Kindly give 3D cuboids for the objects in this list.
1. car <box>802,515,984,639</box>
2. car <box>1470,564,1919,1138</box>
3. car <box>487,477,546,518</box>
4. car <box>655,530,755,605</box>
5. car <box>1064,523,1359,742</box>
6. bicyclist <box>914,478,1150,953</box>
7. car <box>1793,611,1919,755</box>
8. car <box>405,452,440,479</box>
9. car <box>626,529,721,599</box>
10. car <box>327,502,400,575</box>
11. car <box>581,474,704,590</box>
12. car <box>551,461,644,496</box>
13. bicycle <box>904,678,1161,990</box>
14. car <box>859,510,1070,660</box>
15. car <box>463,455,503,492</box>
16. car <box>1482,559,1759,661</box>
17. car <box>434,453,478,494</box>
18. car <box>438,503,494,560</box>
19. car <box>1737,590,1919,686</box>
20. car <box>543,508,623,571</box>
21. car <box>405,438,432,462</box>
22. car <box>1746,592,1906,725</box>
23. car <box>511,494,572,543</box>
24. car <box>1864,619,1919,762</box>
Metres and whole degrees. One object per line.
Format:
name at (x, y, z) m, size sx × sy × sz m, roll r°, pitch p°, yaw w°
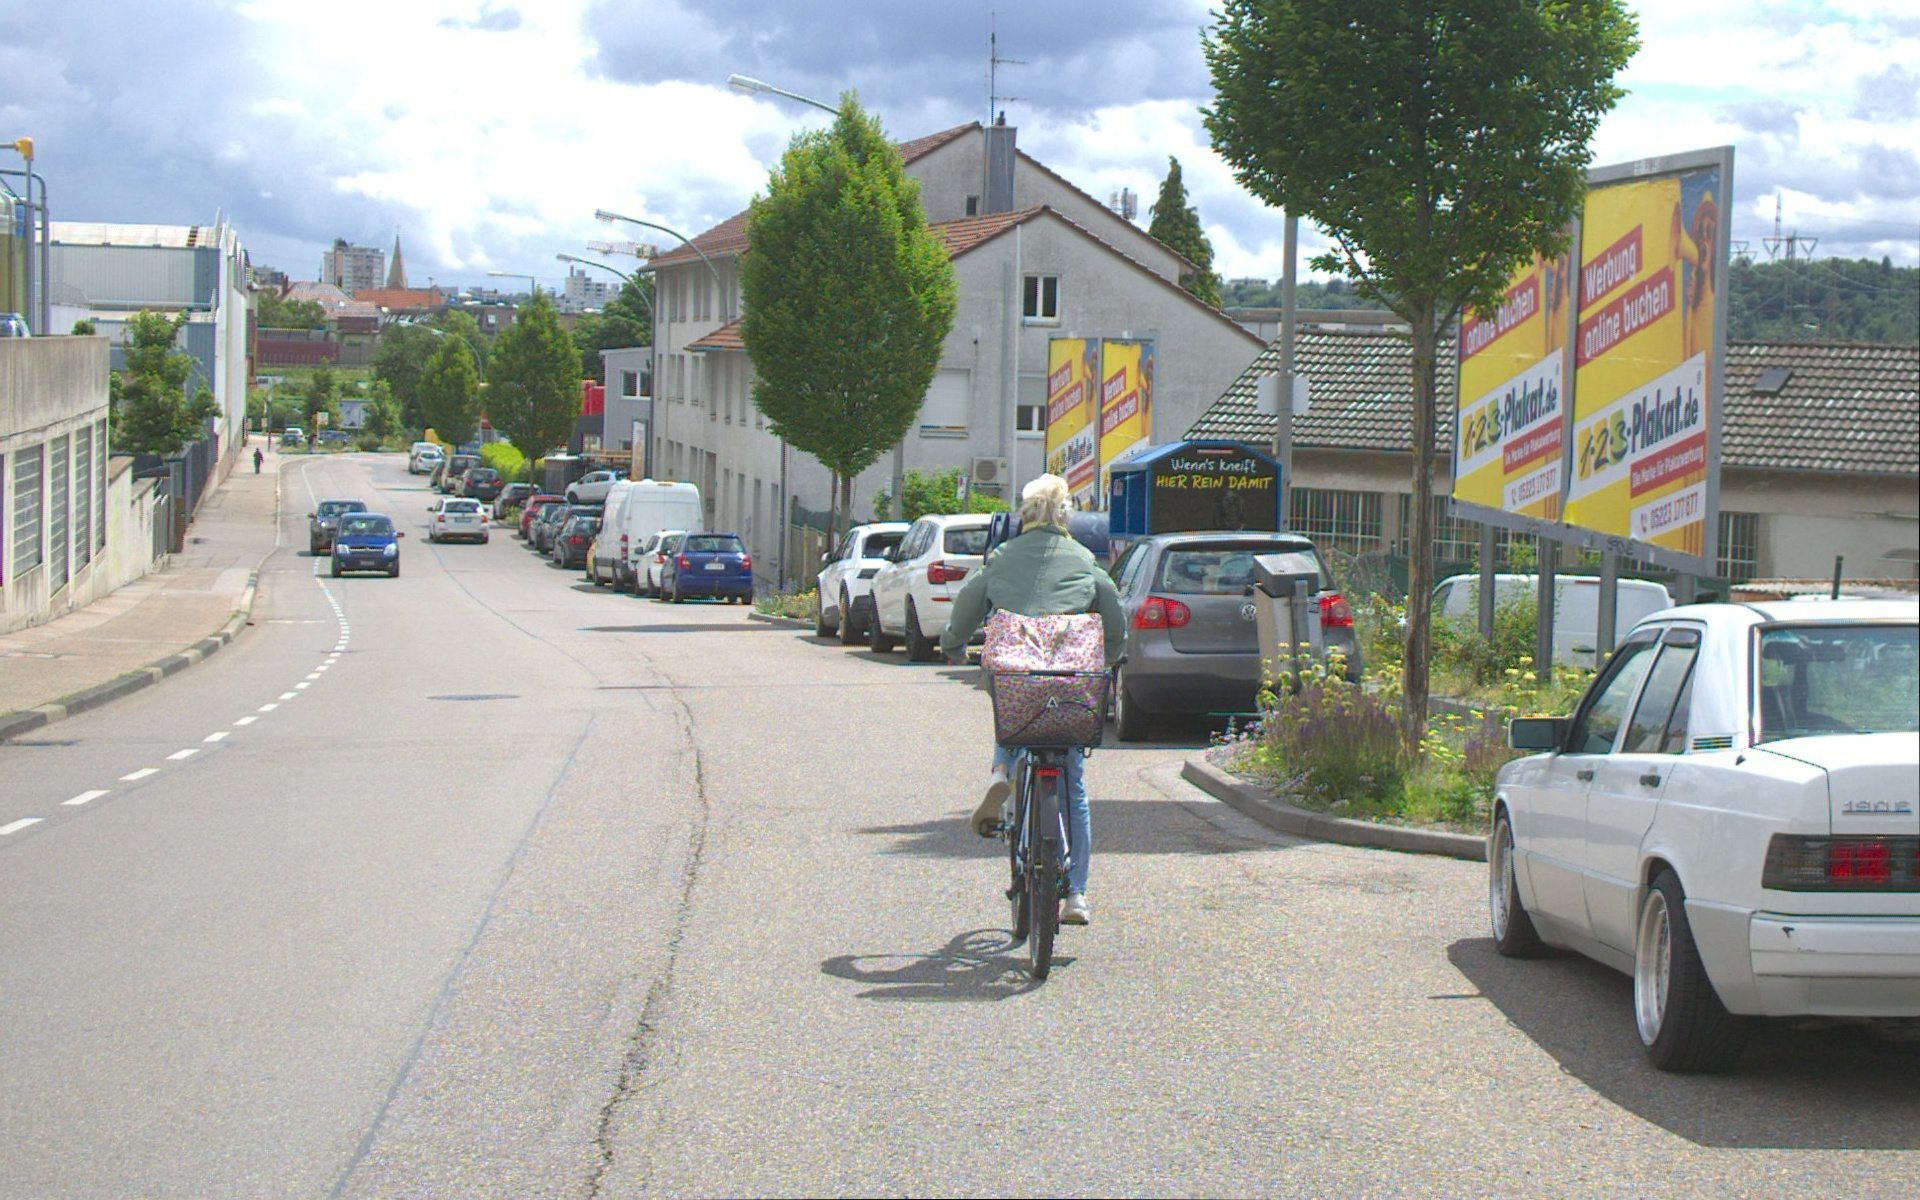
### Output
car at (-0.955, -0.332, 46.110) m, size 1.841 × 1.560 × 4.467 m, roll -1°, pitch 1°, yaw -9°
car at (2.752, 0.622, 10.734) m, size 1.637 × 1.382 × 4.205 m, roll 1°, pitch 1°, yaw 0°
car at (-17.090, -3.960, 132.366) m, size 1.790 × 1.460 × 4.710 m, roll 1°, pitch 2°, yaw -12°
car at (-5.377, -0.692, 72.200) m, size 1.566 × 1.505 × 4.095 m, roll 1°, pitch 1°, yaw -11°
car at (1.793, 0.184, 25.645) m, size 1.655 × 1.480 × 4.045 m, roll -1°, pitch 1°, yaw -3°
bicyclist at (0.243, 0.393, 12.175) m, size 0.739 × 1.621 × 0.731 m, roll 1°, pitch 1°, yaw -4°
car at (11.875, 1.012, 43.808) m, size 1.812 × 1.616 × 4.462 m, roll -1°, pitch 1°, yaw 5°
car at (-33.849, -8.460, 216.322) m, size 1.700 × 1.522 × 3.740 m, roll 4°, pitch 2°, yaw -15°
car at (-6.446, -0.820, 77.045) m, size 1.592 × 1.505 × 3.791 m, roll 1°, pitch 1°, yaw -12°
car at (-15.300, -1.572, 88.098) m, size 1.626 × 1.811 × 3.781 m, roll 0°, pitch 1°, yaw -13°
car at (-7.722, -1.637, 83.016) m, size 2.032 × 2.632 × 7.285 m, roll 1°, pitch 1°, yaw -12°
car at (-16.147, -5.392, 153.068) m, size 4.071 × 1.457 × 1.721 m, roll 1°, pitch 5°, yaw 41°
bicycle at (0.225, 0.792, 12.201) m, size 0.740 × 0.972 × 1.732 m, roll 1°, pitch 0°, yaw -4°
car at (-0.008, -0.203, 40.256) m, size 1.685 × 1.653 × 4.481 m, roll 0°, pitch 1°, yaw -10°
car at (-22.021, -5.861, 158.540) m, size 1.679 × 1.632 × 4.124 m, roll 1°, pitch 2°, yaw -9°
car at (10.705, 0.136, 55.828) m, size 4.040 × 1.385 × 1.740 m, roll 4°, pitch 4°, yaw 39°
car at (-25.398, -6.381, 173.050) m, size 1.868 × 1.983 × 5.146 m, roll 1°, pitch 2°, yaw -11°
car at (-16.052, -2.223, 111.614) m, size 1.566 × 1.780 × 3.607 m, roll 1°, pitch 1°, yaw -11°
car at (13.963, 0.562, 52.014) m, size 4.036 × 1.385 × 1.522 m, roll 0°, pitch 1°, yaw 29°
car at (-10.894, -1.772, 99.072) m, size 1.704 × 1.504 × 5.090 m, roll 3°, pitch 3°, yaw -12°
car at (-35.760, -9.891, 226.935) m, size 1.700 × 1.522 × 3.739 m, roll 1°, pitch 3°, yaw -10°
car at (12.320, 0.797, 49.145) m, size 1.750 × 1.679 × 4.678 m, roll -1°, pitch 2°, yaw 8°
car at (-14.210, -2.783, 116.624) m, size 1.734 × 1.467 × 4.263 m, roll 1°, pitch 3°, yaw -11°
car at (11.628, 1.030, 39.103) m, size 1.751 × 1.512 × 4.582 m, roll -1°, pitch 1°, yaw 4°
